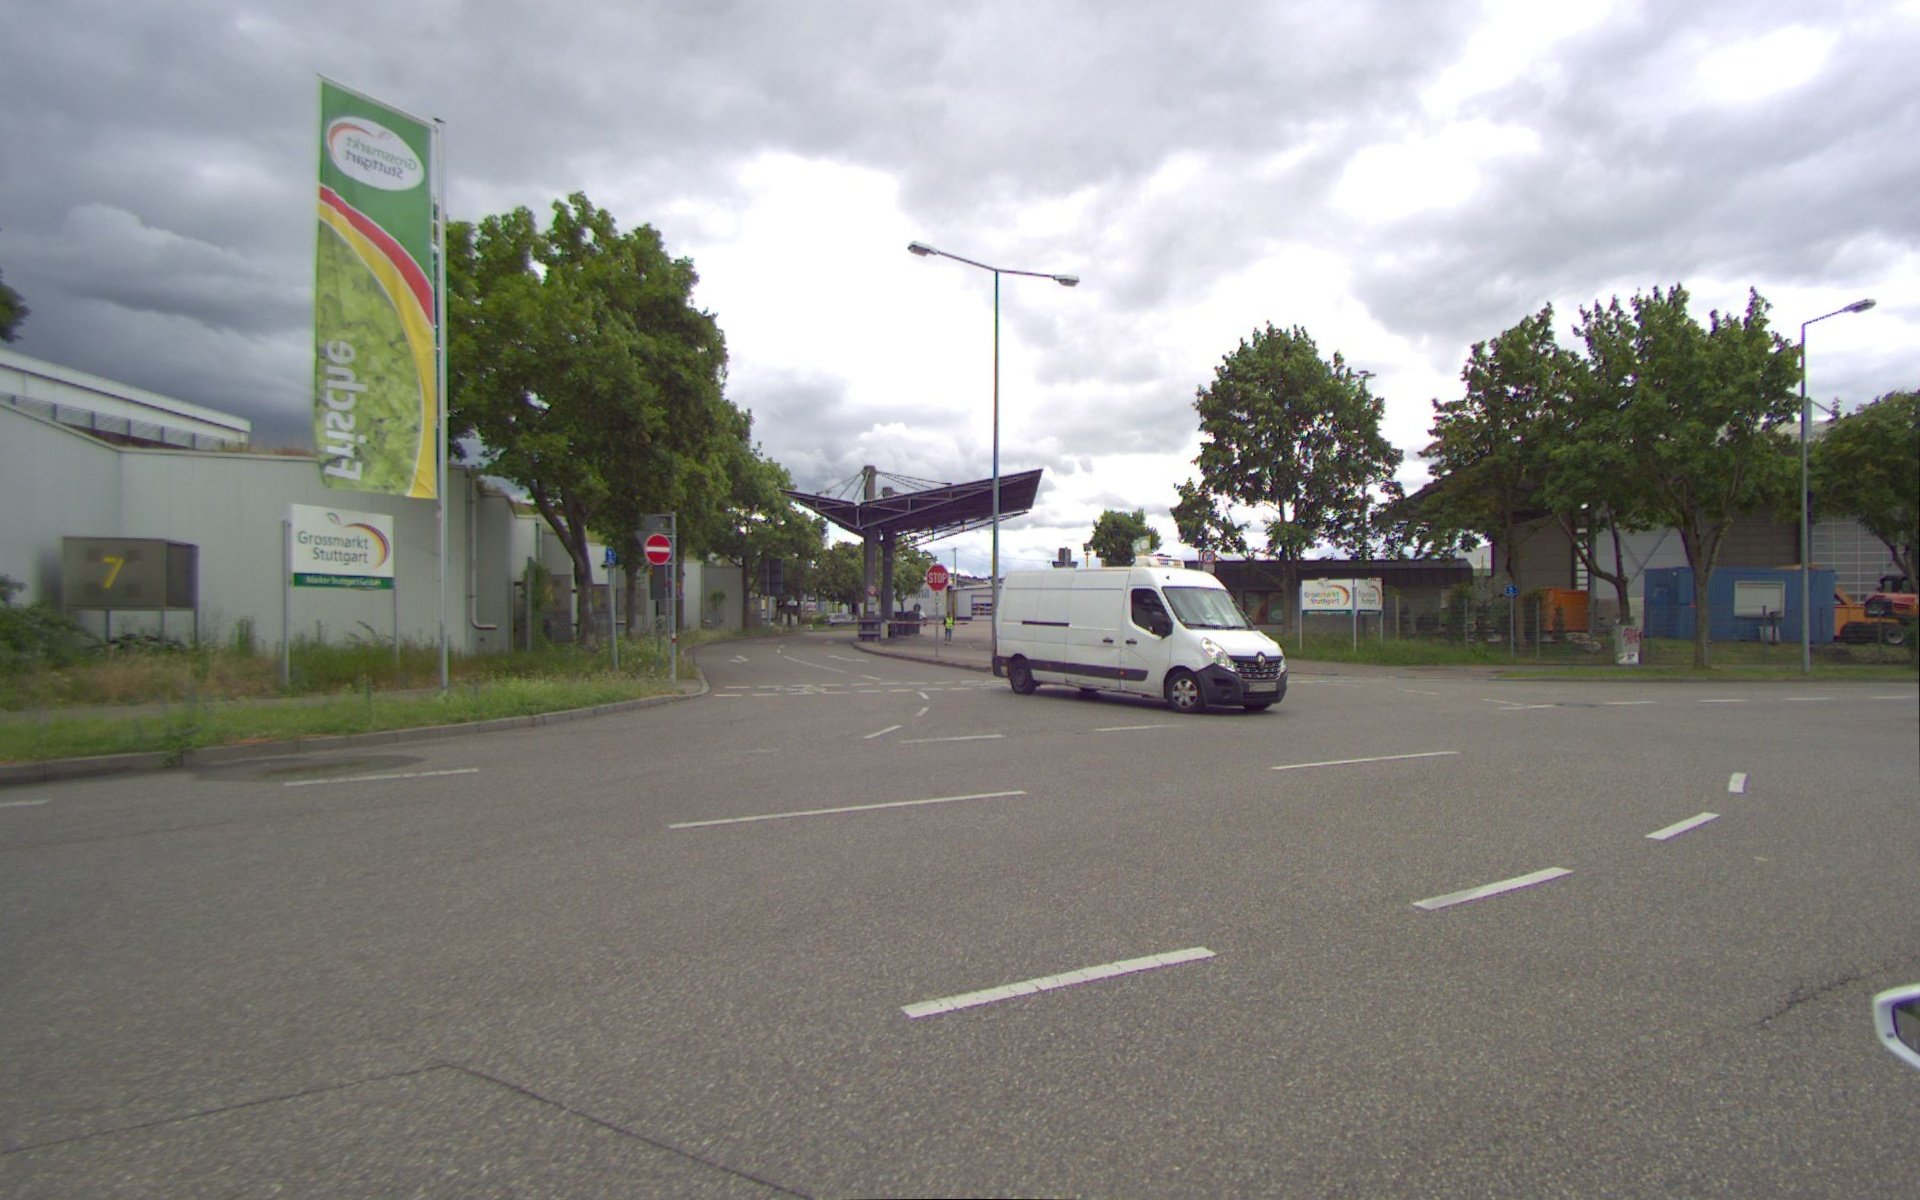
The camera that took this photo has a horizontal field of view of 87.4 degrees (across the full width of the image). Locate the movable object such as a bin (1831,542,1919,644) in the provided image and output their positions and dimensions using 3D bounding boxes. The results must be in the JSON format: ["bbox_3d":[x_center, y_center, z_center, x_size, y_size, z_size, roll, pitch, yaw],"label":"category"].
[{"bbox_3d":[41.173,-0.255,42.240,6.420,4.145,2.736,0,-1,5],"label":"movable object such as a bin"}]

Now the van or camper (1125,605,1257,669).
[{"bbox_3d":[7.713,1.178,33.885,1.937,1.989,4.238,0,0,-33],"label":"van or camper"}]

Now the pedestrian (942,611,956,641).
[{"bbox_3d":[-0.594,1.396,53.975,0.754,1.579,0.816,0,-1,-4],"label":"pedestrian"}]

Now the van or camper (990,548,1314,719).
[{"bbox_3d":[3.194,0.500,18.330,2.249,2.591,6.051,0,0,-33],"label":"van or camper"}]

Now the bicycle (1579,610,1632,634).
[{"bbox_3d":[26.961,0.937,41.961,1.725,0.987,0.663,0,-1,5],"label":"bicycle"}]
